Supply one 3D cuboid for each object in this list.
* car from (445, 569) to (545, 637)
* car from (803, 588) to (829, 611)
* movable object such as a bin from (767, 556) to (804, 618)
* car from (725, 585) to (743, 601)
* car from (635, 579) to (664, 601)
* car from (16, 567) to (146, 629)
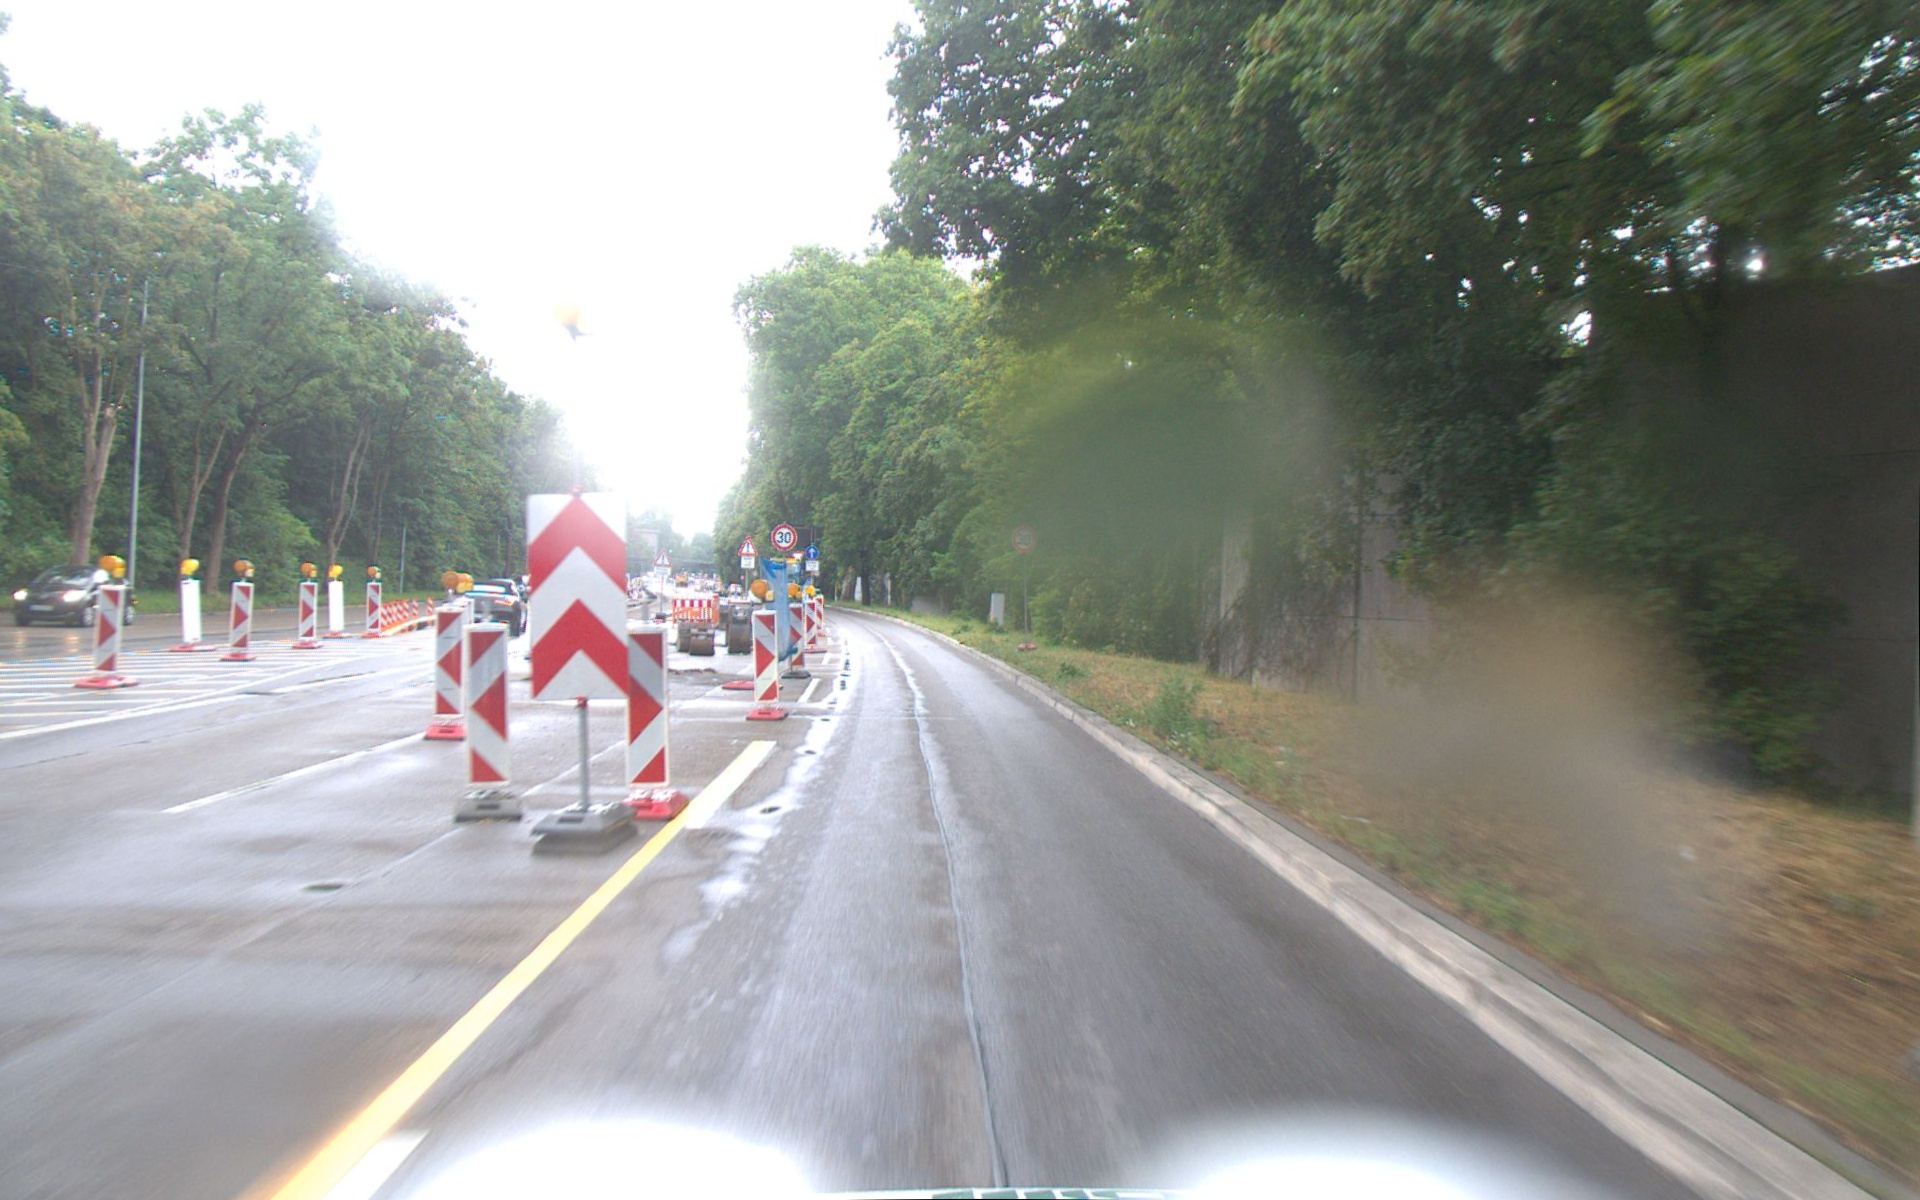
[{"bbox_3d":[-12.399,0.052,44.312,1.826,1.517,3.997,3,2,-6],"label":"car"},{"bbox_3d":[-11.113,-0.030,128.095,1.876,1.625,4.830,2,1,-4],"label":"car"},{"bbox_3d":[-8.515,-0.630,81.055,1.713,2.917,3.530,1,0,-5],"label":"movable object such as a bin"},{"bbox_3d":[-27.046,-0.835,198.043,1.838,1.645,3.997,4,1,-4],"label":"car"},{"bbox_3d":[-27.670,-0.891,147.371,1.889,1.809,4.649,3,0,-4],"label":"car"},{"bbox_3d":[-22.067,-0.053,41.676,1.495,1.483,3.538,0,0,-2],"label":"car"}]
